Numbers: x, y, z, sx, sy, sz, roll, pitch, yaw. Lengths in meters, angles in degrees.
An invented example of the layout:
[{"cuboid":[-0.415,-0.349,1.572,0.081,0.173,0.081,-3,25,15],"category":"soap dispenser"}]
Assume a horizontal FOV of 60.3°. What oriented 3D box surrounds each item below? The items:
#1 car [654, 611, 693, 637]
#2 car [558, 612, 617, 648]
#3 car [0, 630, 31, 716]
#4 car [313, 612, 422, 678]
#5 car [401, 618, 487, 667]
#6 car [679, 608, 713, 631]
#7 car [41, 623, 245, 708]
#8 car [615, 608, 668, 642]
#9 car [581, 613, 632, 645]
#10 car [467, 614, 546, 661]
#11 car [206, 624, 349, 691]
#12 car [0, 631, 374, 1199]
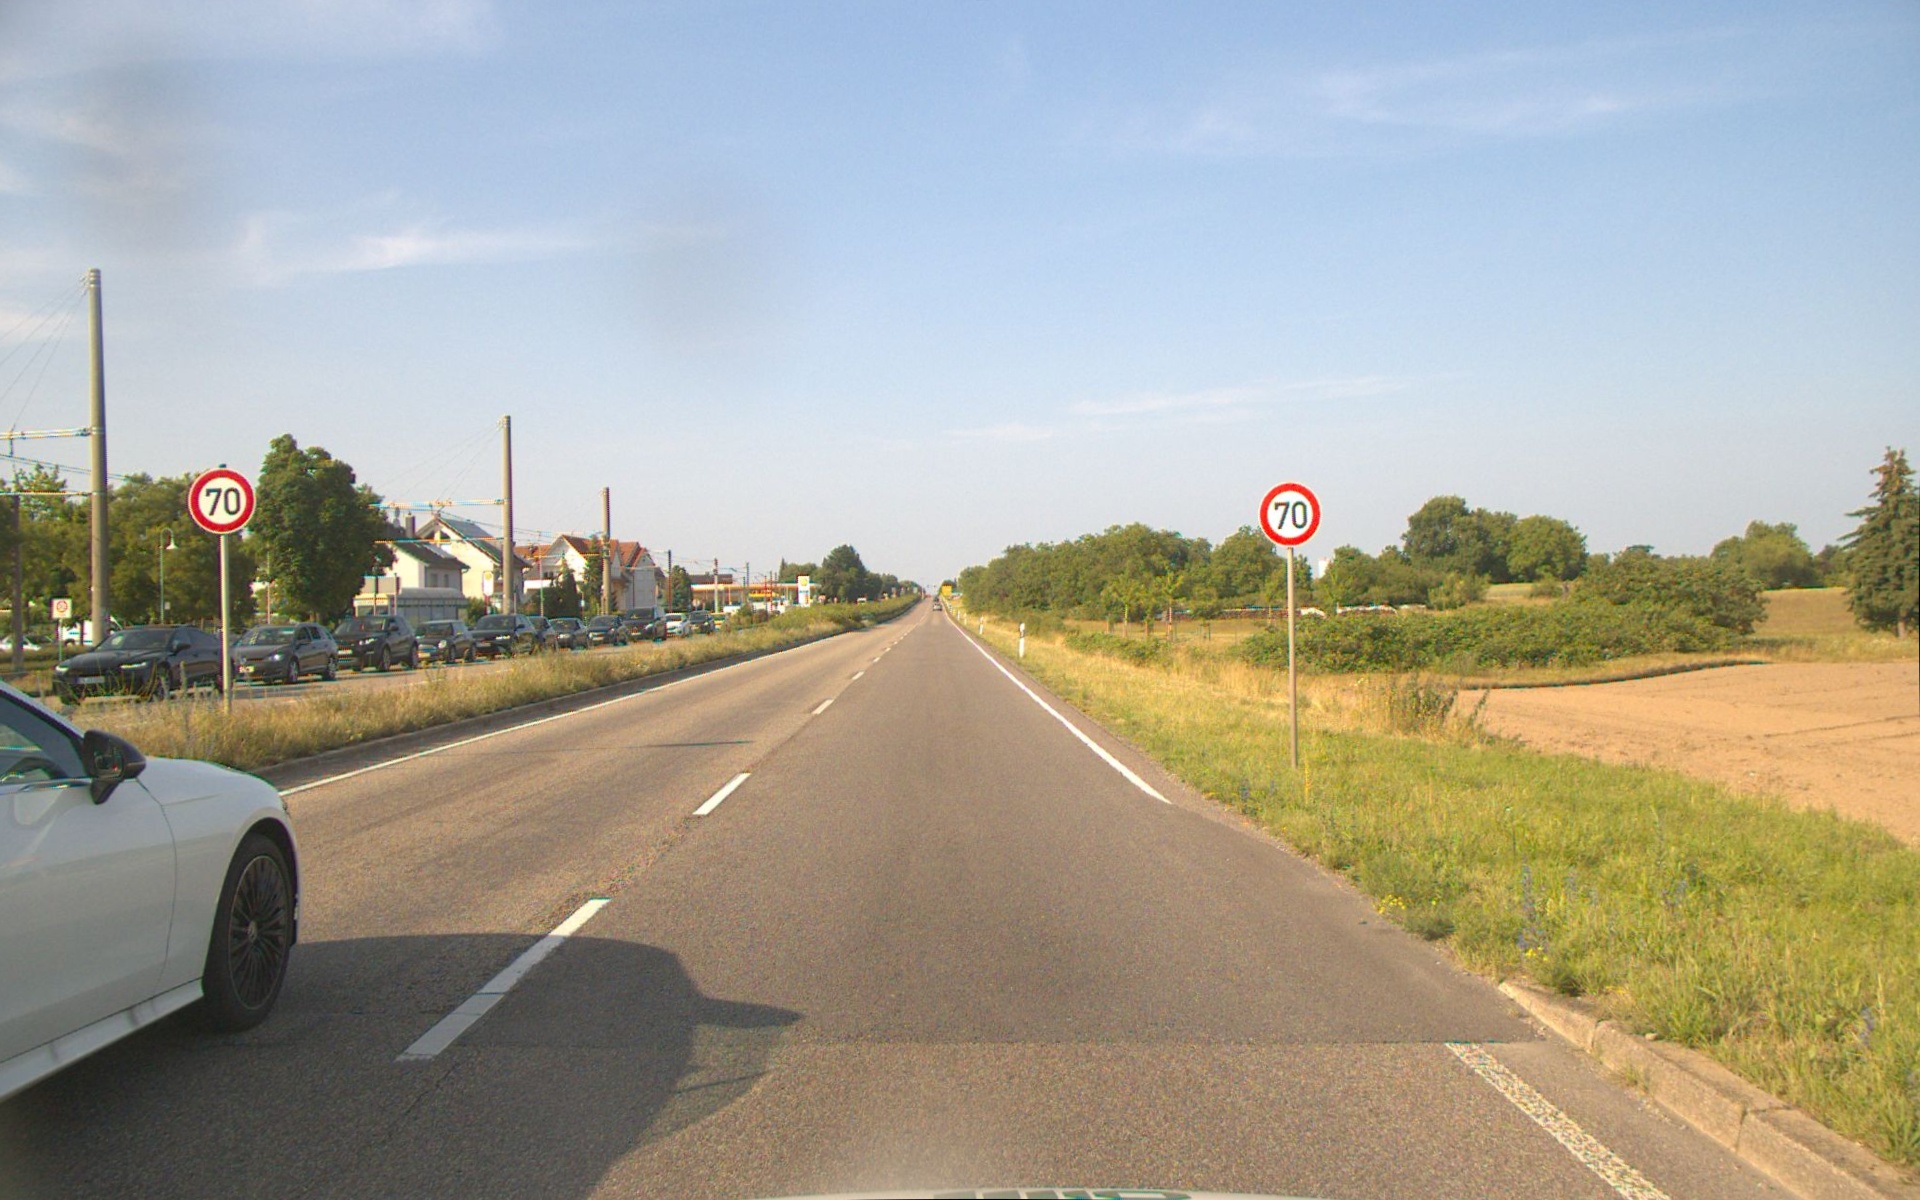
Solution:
[{"cuboid":[-17.409,1.462,100.677,1.627,1.456,4.447,-3,0,-1],"category":"car"},{"cuboid":[-16.632,1.334,74.010,1.627,1.456,4.716,-3,0,-1],"category":"car"},{"cuboid":[-16.653,1.245,25.963,1.627,1.405,4.467,-3,0,-1],"category":"car"},{"cuboid":[-17.062,1.251,47.797,1.627,1.716,4.228,-3,0,-1],"category":"car"},{"cuboid":[-16.943,1.372,54.444,1.627,1.456,3.804,-3,0,-1],"category":"car"},{"cuboid":[-18.050,1.320,113.115,1.627,1.456,4.325,-3,0,-1],"category":"car"},{"cuboid":[-16.106,1.245,32.915,1.627,1.440,4.974,-3,0,-1],"category":"car"},{"cuboid":[-17.466,1.360,90.920,1.876,1.712,5.252,-3,0,-1],"category":"car"},{"cuboid":[-17.330,1.401,81.214,1.627,1.456,4.055,-3,0,-1],"category":"car"},{"cuboid":[-16.568,1.341,60.625,1.627,1.590,4.544,-3,0,-1],"category":"car"},{"cuboid":[-16.551,1.350,40.345,1.627,1.405,4.540,-3,0,-1],"category":"car"},{"cuboid":[-3.155,0.800,4.003,1.735,1.361,4.949,1,0,-1],"category":"car"}]
